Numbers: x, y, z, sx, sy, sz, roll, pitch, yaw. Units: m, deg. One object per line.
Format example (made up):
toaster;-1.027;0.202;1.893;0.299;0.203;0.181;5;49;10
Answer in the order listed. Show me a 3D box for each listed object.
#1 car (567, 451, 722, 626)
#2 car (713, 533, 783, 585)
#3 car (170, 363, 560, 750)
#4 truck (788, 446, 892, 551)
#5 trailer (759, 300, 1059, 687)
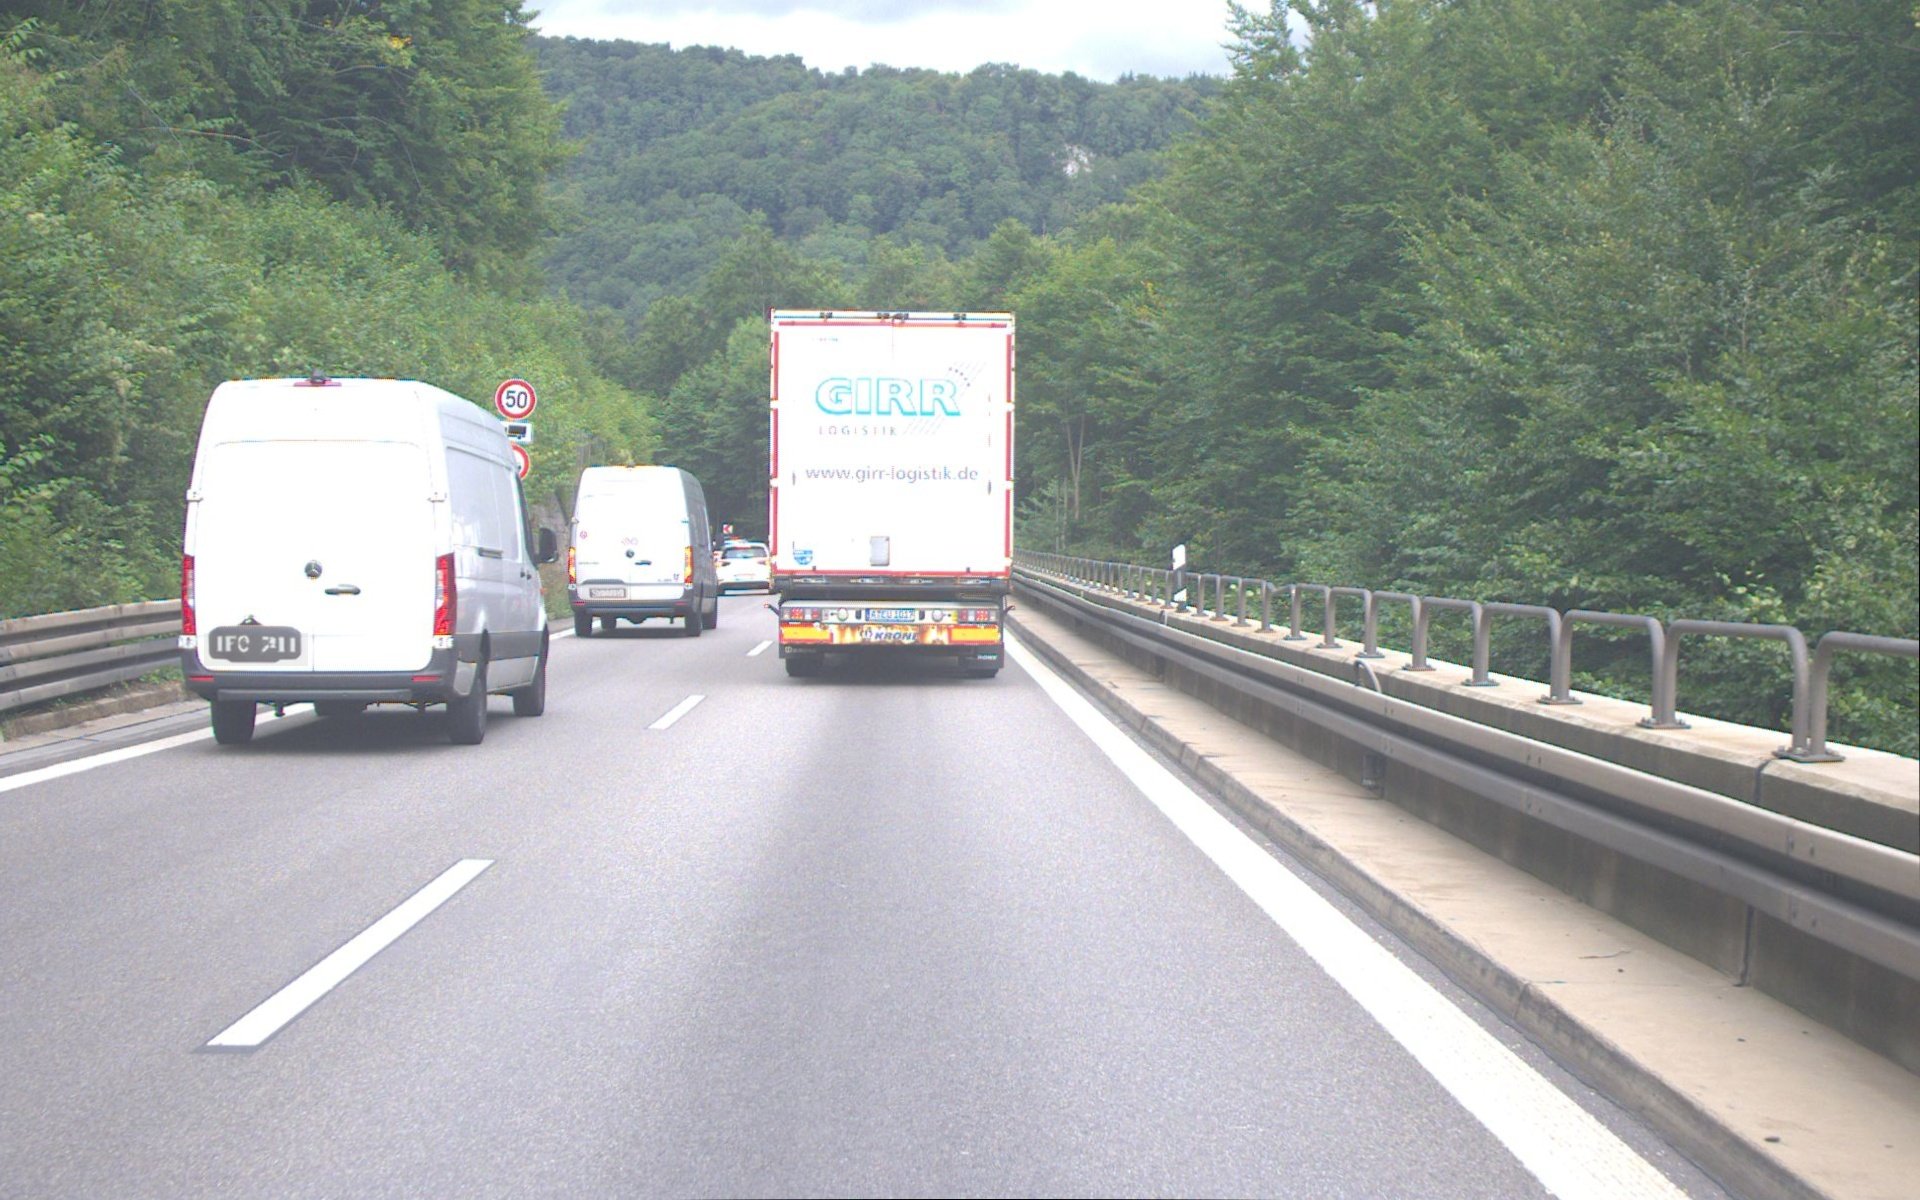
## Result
car;-5.025;-1.014;55.548;1.939;2.663;5.991;0;1;0
car;-5.977;-1.173;97.098;1.732;1.416;4.000;1;1;-1
car;-4.520;-0.378;27.262;1.989;2.663;6.937;0;1;-1
truck;-4.952;-3.977;138.715;3.057;3.973;13.701;1;1;-6
trailer;-0.628;-1.369;41.805;3.057;3.972;12.138;1;2;-1
